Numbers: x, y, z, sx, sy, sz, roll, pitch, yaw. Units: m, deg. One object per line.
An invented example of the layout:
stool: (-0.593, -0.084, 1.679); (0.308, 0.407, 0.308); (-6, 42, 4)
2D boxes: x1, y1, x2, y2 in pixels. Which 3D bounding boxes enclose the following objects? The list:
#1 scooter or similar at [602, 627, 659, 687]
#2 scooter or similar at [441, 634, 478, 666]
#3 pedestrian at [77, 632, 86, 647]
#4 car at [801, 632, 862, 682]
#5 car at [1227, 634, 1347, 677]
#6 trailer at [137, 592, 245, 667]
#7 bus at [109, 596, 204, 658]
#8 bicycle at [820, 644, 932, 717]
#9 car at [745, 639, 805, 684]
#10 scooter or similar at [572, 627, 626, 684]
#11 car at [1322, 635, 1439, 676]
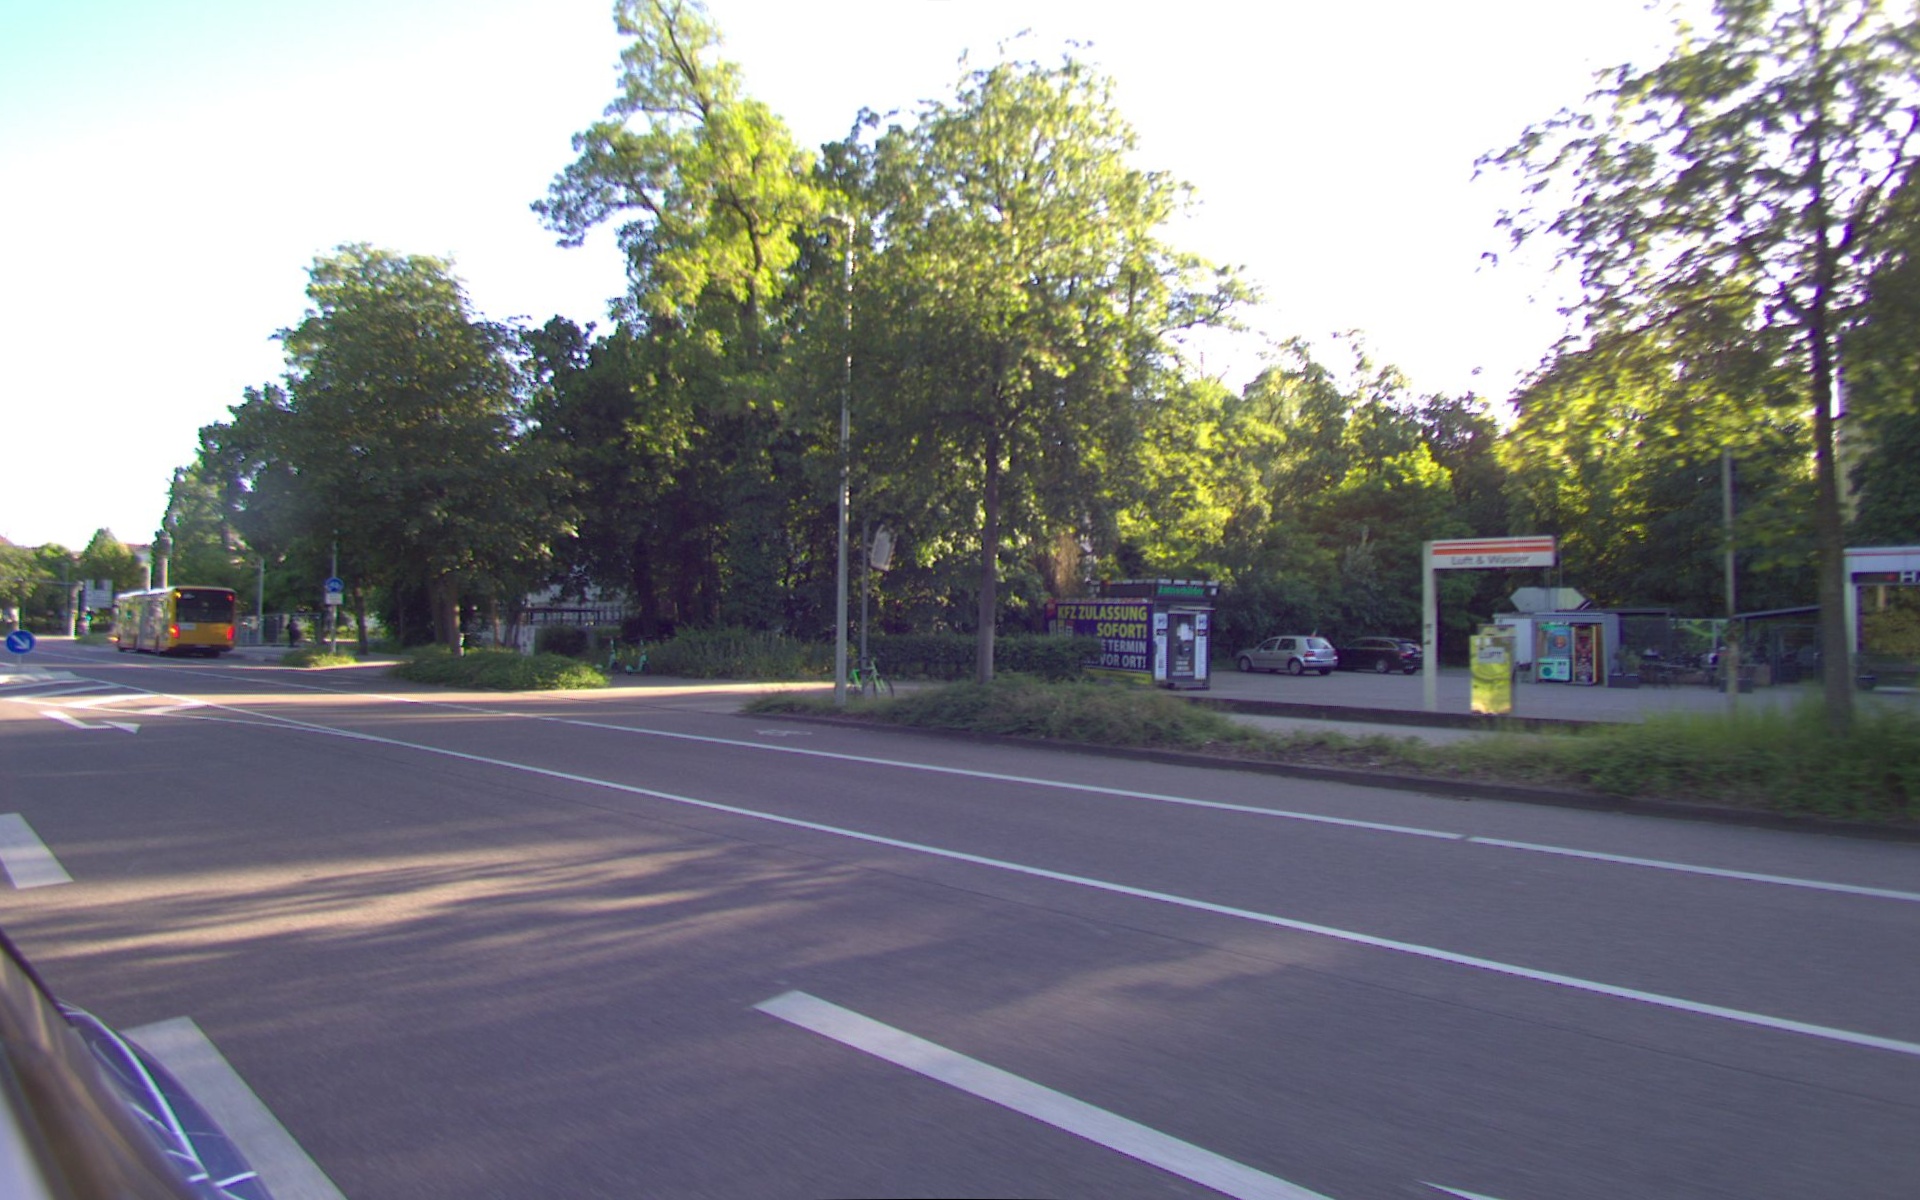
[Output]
scooter or similar: (-9.858, 1.693, 30.272); (1.740, 1.730, 0.819); (-2, -3, 42)
scooter or similar: (-20.885, 2.073, 42.223); (1.570, 1.320, 0.819); (-2, -3, 42)
pedestrian: (-96.579, 4.330, 111.276); (0.681, 1.694, 0.681); (3, -3, -40)
car: (-4.624, 1.999, 36.079); (1.536, 1.663, 3.501); (1, -2, -17)
car: (12.272, 2.057, 38.233); (1.966, 1.548, 4.033); (2, -2, -30)
trailer: (-38.444, 1.407, 50.429); (9.363, 3.381, 2.823); (-1, -1, 43)
bus: (-45.012, 1.535, 56.558); (8.599, 3.221, 2.809); (-1, -3, 43)
bicycle: (-1.573, 1.465, 18.744); (2.155, 1.259, 0.648); (-1, -3, 36)
car: (-6.380, 2.084, 34.741); (1.536, 1.411, 3.501); (3, -3, -17)
scooter or similar: (-11.275, 1.717, 31.601); (1.740, 1.730, 0.819); (-2, -3, 42)
car: (16.920, 2.206, 40.845); (1.967, 1.548, 3.922); (2, -3, -36)
